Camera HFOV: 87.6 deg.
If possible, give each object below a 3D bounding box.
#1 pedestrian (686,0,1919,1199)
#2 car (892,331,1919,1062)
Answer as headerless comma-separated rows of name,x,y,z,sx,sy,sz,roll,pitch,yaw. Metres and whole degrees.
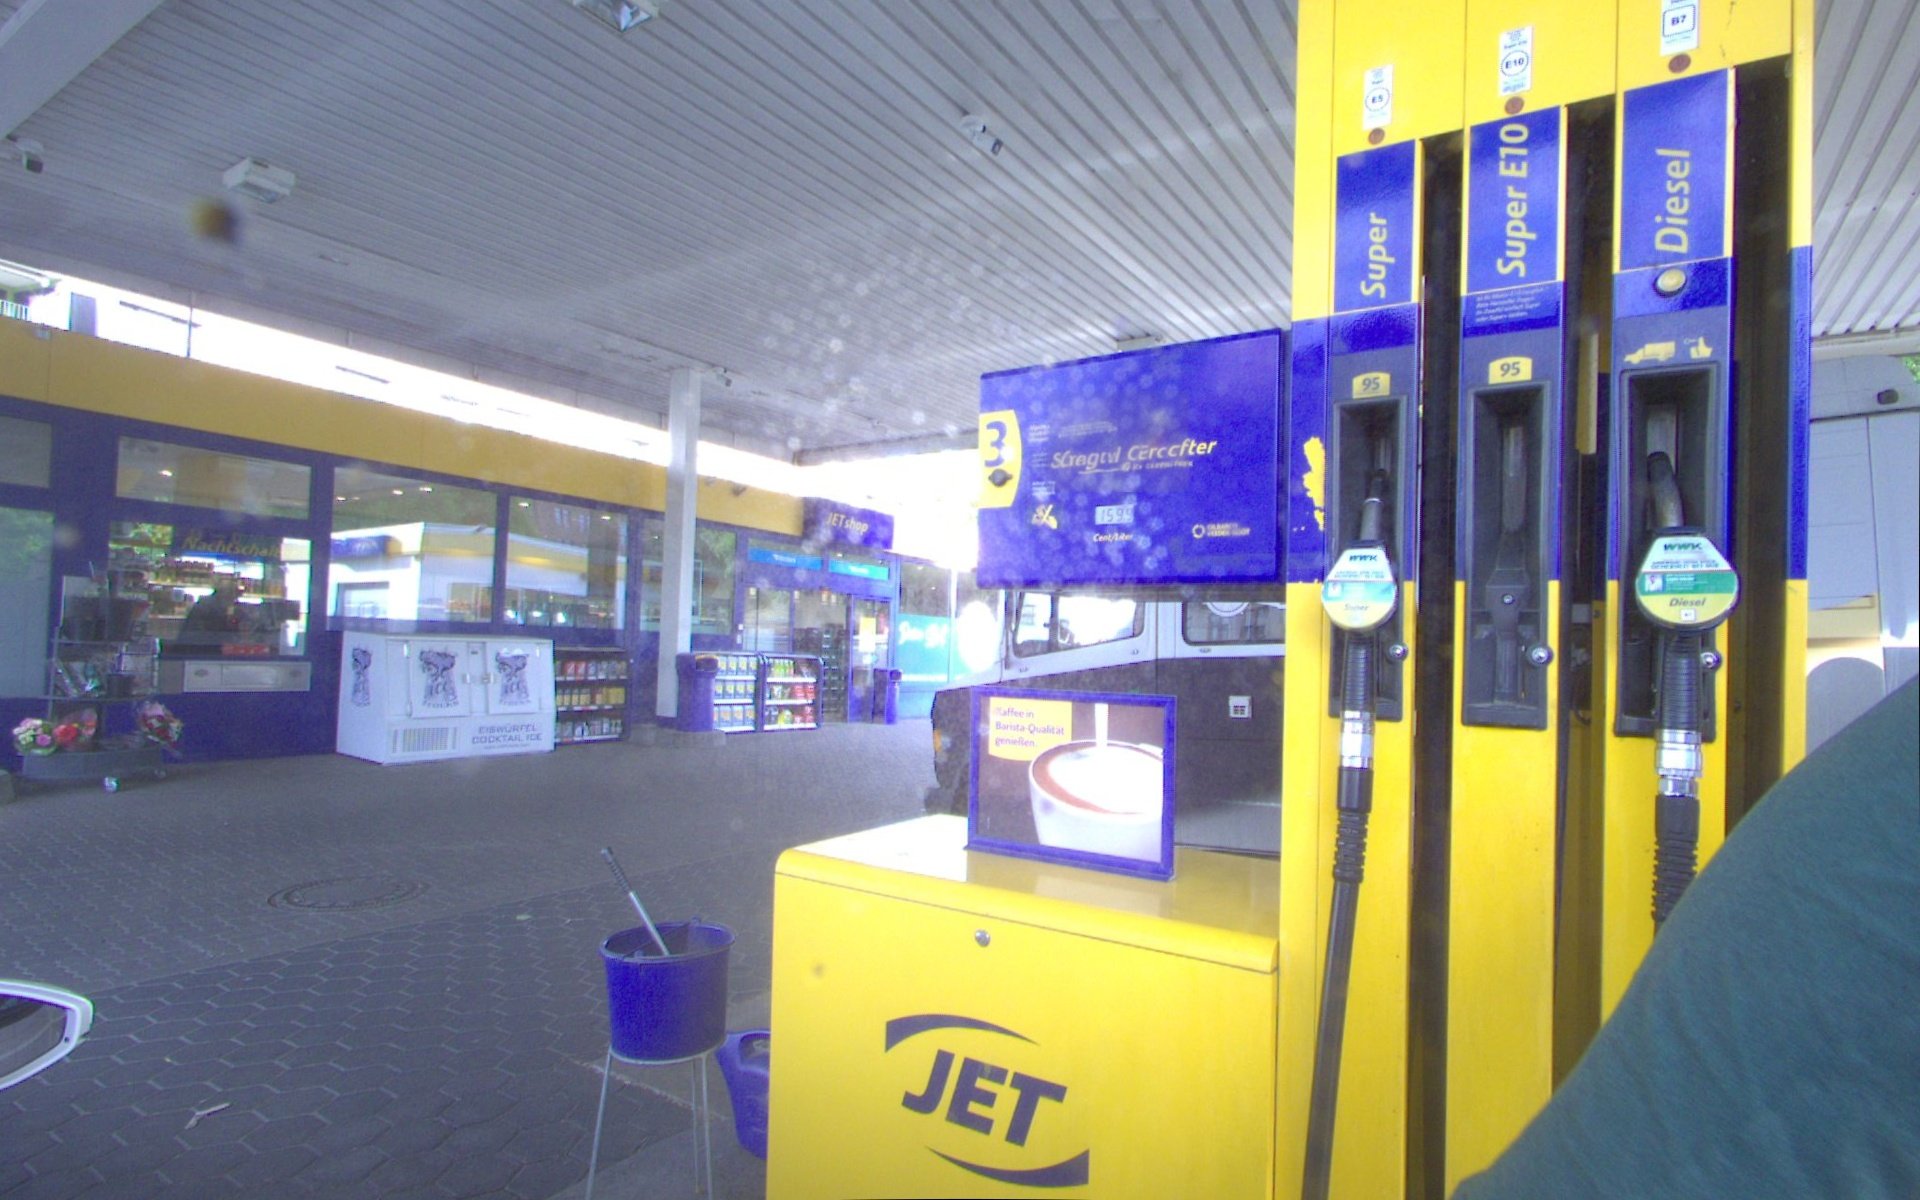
pedestrian,0.659,0.559,0.441,1.167,1.750,0.988,-2,-2,35
car,2.350,0.442,5.993,5.271,2.759,2.193,-1,-3,34
